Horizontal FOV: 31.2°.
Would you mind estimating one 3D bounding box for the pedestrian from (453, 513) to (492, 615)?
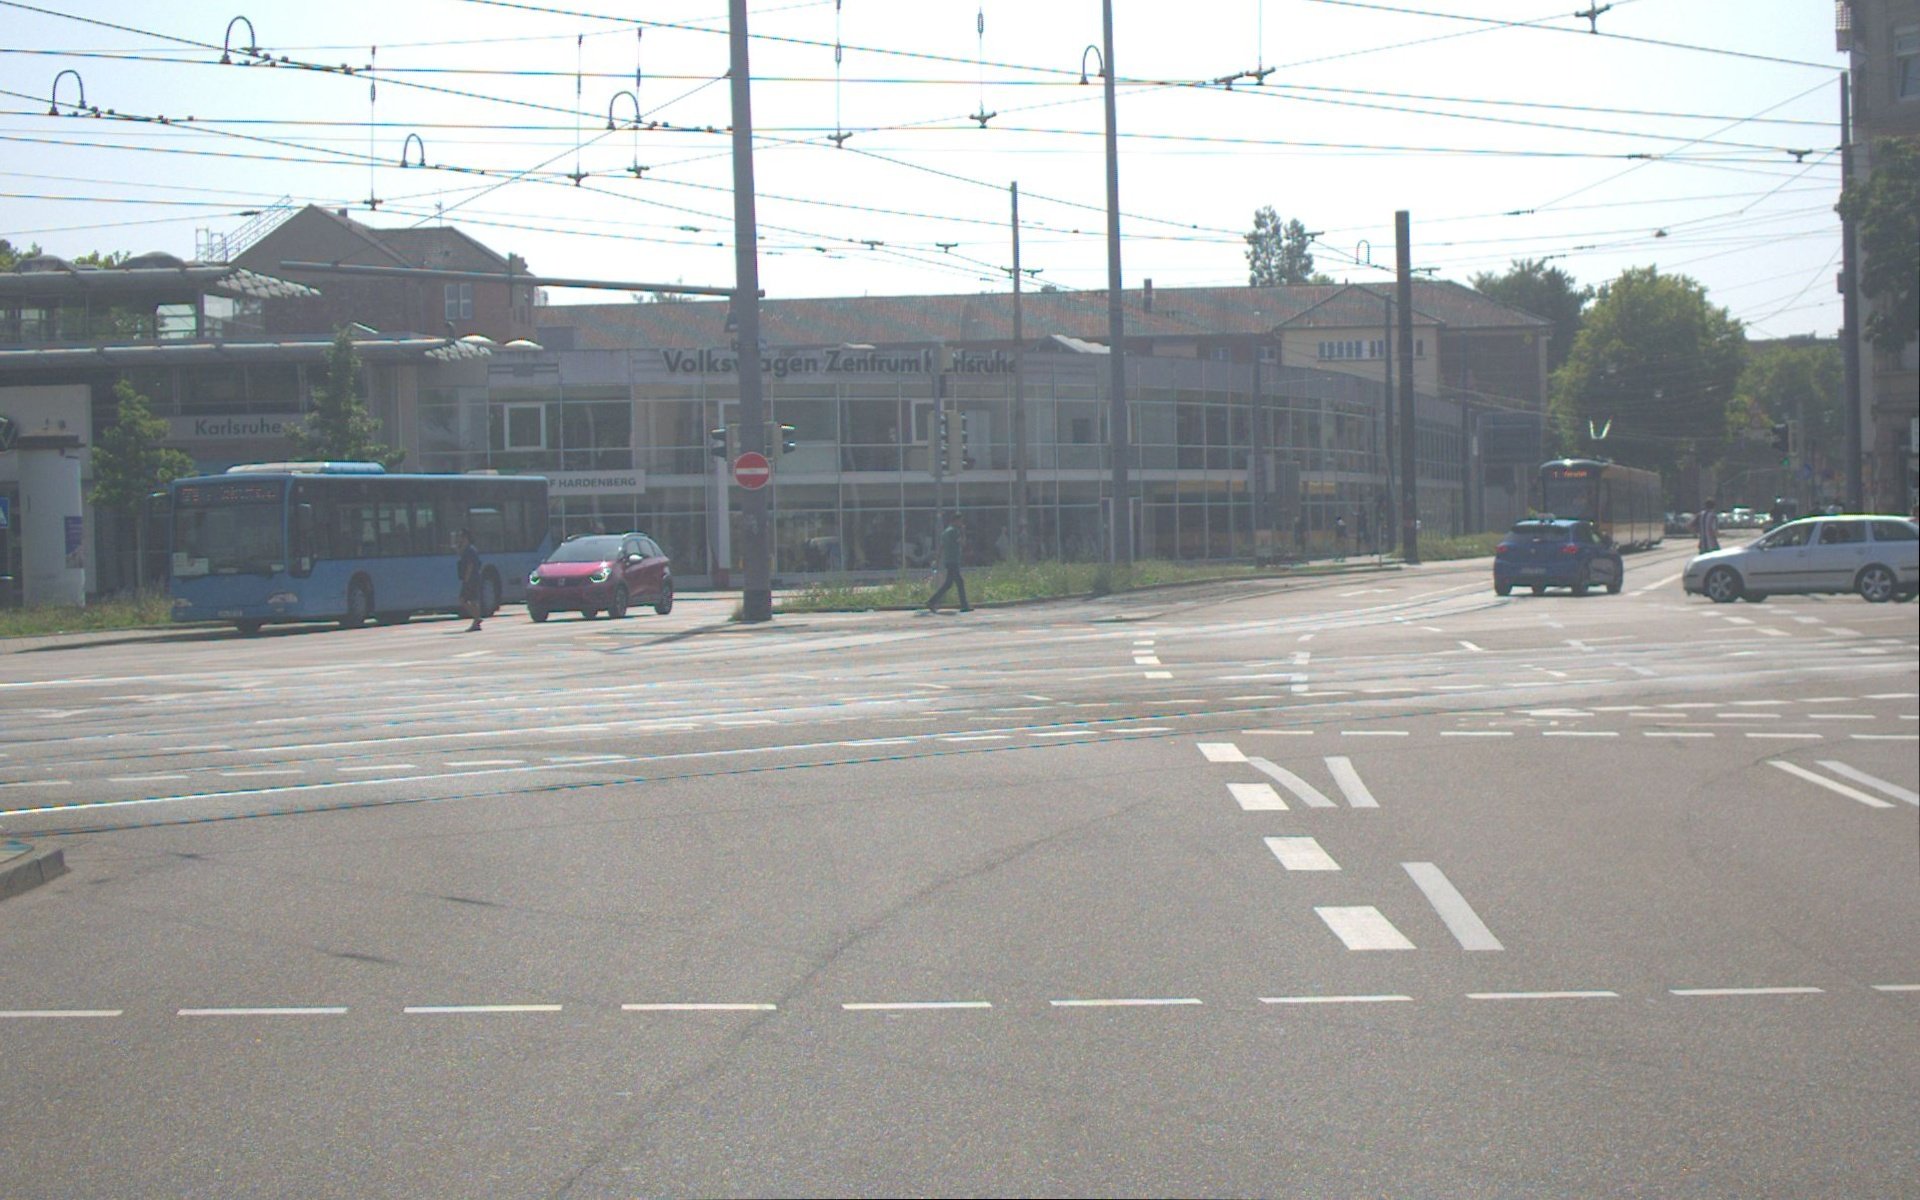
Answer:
[{"bbox_3d":[-8.130,-0.604,57.332,0.552,1.678,0.454,-1,1,-18],"label":"pedestrian"}]

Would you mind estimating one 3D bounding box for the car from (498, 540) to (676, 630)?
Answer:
[{"bbox_3d":[-6.835,-0.293,63.402,1.751,1.546,3.997,-1,1,18],"label":"car"}]

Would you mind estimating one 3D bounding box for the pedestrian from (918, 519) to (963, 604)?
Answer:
[{"bbox_3d":[-0.332,-0.659,59.068,0.676,1.438,0.366,-1,1,-17],"label":"pedestrian"}]

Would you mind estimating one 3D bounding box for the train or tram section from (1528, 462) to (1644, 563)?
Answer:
[{"bbox_3d":[22.894,-3.178,125.267,2.590,3.504,10.889,-1,1,19],"label":"train or tram section"}]

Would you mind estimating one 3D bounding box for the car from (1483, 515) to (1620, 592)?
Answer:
[{"bbox_3d":[11.368,-0.910,65.928,1.593,1.389,3.995,-1,1,25],"label":"car"}]

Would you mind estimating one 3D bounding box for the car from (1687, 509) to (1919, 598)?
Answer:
[{"bbox_3d":[14.462,-0.780,57.402,4.181,1.411,1.773,0,1,29],"label":"car"}]

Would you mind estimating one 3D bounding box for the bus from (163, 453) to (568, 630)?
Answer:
[{"bbox_3d":[-11.209,-1.167,66.642,2.564,3.072,12.014,-1,1,17],"label":"bus"}]

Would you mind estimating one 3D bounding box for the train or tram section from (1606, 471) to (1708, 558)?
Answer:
[{"bbox_3d":[29.646,-3.613,145.739,2.590,3.504,12.961,-1,1,19],"label":"train or tram section"}]

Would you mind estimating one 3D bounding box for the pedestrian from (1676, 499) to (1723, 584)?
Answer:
[{"bbox_3d":[13.975,-1.107,64.955,0.699,1.597,0.573,-1,1,-8],"label":"pedestrian"}]
